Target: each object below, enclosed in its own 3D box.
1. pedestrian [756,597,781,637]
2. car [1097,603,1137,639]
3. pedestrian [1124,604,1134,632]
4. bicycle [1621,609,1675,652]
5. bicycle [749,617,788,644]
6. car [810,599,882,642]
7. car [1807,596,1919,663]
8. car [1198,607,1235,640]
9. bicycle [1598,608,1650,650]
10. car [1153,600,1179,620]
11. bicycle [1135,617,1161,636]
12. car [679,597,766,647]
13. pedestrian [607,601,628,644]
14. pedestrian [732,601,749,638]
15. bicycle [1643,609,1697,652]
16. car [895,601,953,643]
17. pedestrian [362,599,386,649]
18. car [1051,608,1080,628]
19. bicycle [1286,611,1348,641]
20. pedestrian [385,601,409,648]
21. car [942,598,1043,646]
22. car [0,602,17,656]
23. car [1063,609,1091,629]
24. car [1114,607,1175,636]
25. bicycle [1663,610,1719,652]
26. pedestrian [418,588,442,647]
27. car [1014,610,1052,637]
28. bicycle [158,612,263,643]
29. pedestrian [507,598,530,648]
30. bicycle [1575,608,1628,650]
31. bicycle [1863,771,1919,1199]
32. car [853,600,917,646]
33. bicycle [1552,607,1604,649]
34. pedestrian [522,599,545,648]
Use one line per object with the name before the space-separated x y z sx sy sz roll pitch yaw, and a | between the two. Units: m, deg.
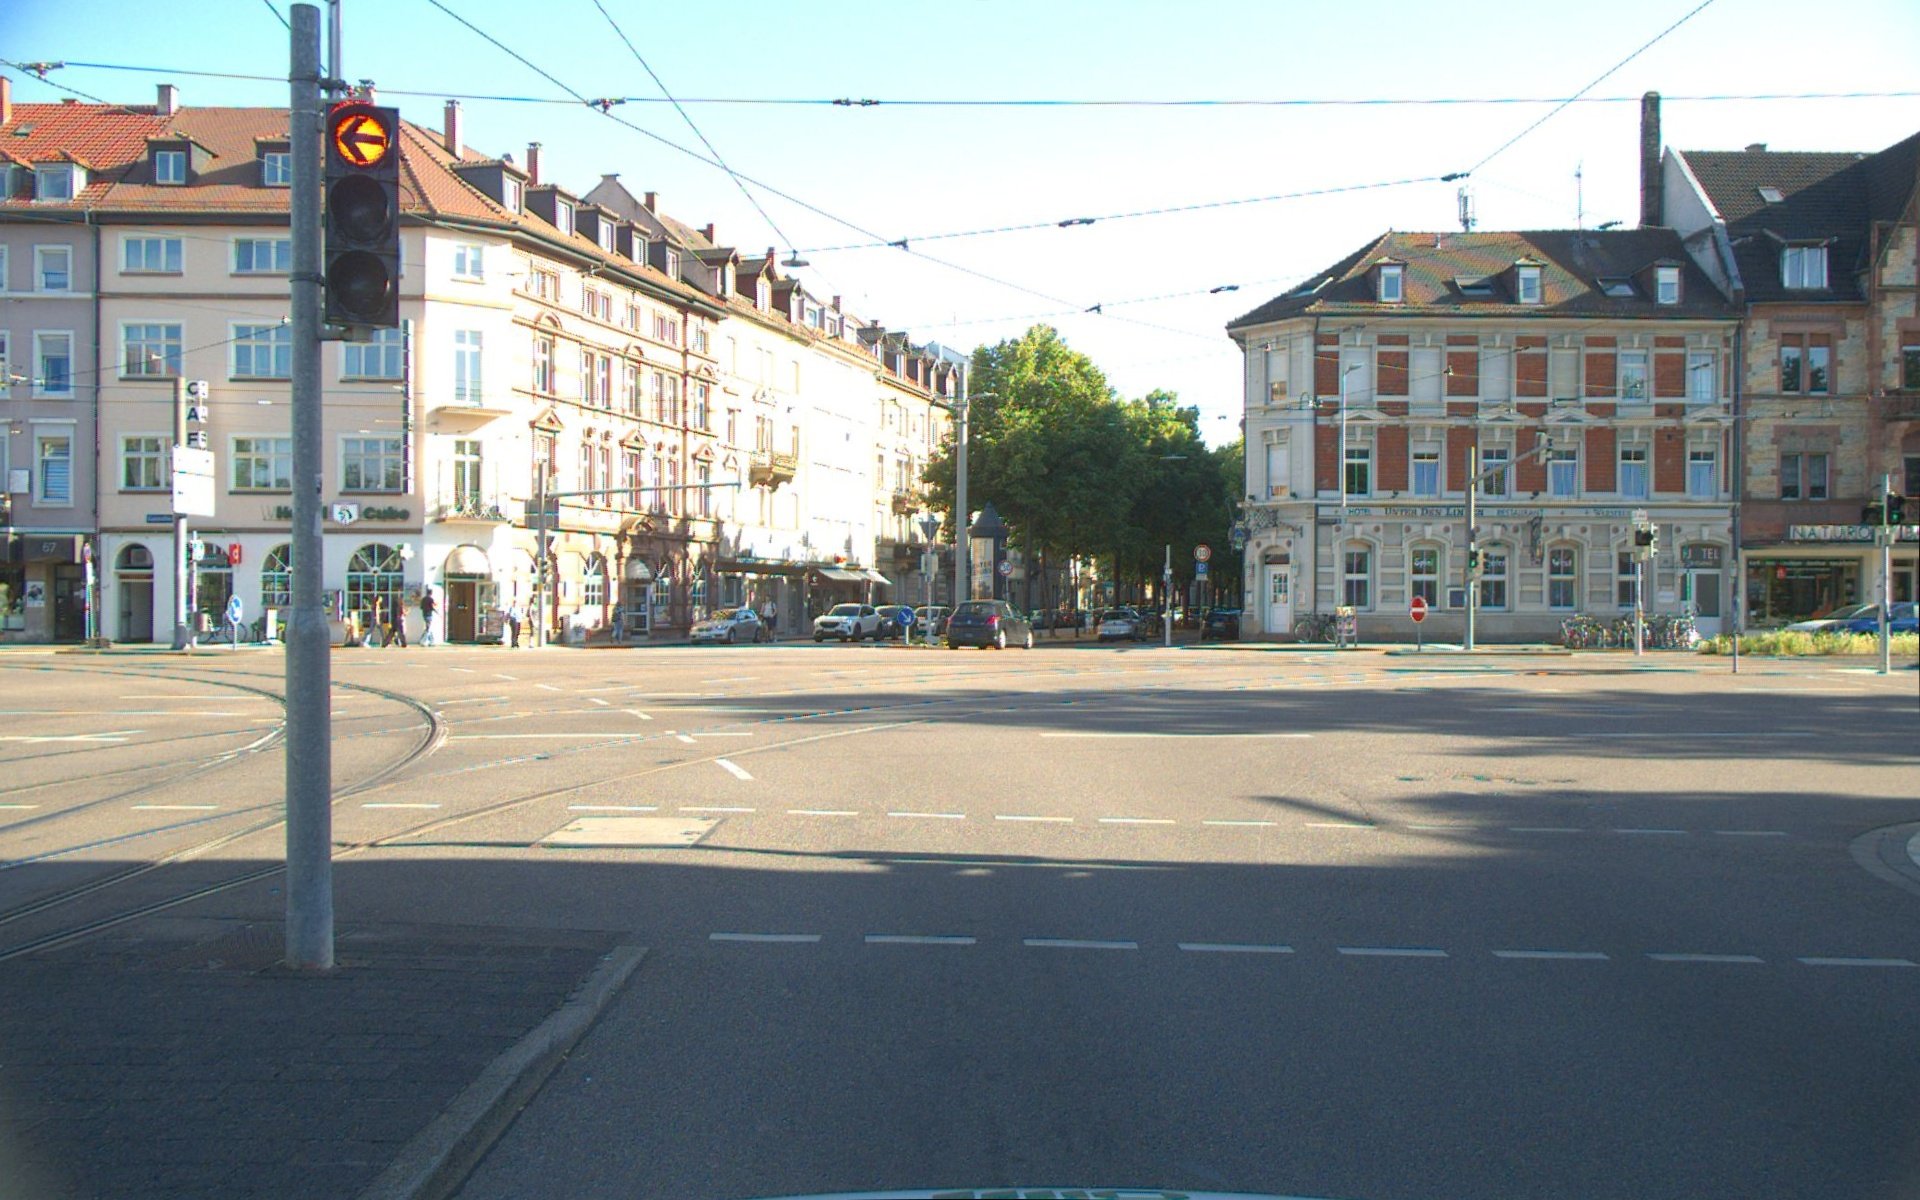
pedestrian | -7.541 0.666 65.084 0.803 1.539 0.598 1 -1 14
car | 7.030 0.936 74.158 1.734 1.557 4.002 1 0 5
pedestrian | 11.368 1.213 111.125 0.626 1.827 0.491 1 -1 12
bicycle | 22.083 0.963 53.147 0.615 1.309 2.661 1 0 0
bicycle | -7.529 1.206 65.155 0.746 1.025 2.398 1 0 13
car | -4.588 0.828 67.125 1.951 1.646 4.003 1 0 11
car | 25.930 0.821 46.040 3.706 1.809 1.999 1 0 -2
car | 12.869 1.147 82.772 1.655 1.592 3.844 1 0 11
bicycle | 21.306 0.917 53.145 0.615 1.309 2.661 1 0 0
car | 16.790 0.833 134.836 1.526 1.540 3.658 1 0 16
bicycle | 11.283 1.570 99.220 0.619 1.104 1.685 1 0 -31
car | -9.564 0.876 66.944 1.951 1.937 4.002 1 0 17
pedestrian | -13.235 0.872 63.934 0.532 1.660 0.707 1 -1 13
pedestrian | -9.987 0.901 75.226 0.532 1.660 0.707 1 -1 13
bicycle | 22.798 0.961 53.171 0.615 1.309 2.661 1 0 0
car | -1.718 1.063 79.491 1.951 1.937 4.003 1 0 11
pedestrian | -19.156 0.780 54.078 0.620 1.640 0.465 1 -1 -5
car | 8.464 1.449 132.084 1.526 1.540 3.658 1 0 16
bicycle | 12.351 0.903 57.268 2.006 1.015 0.631 1 0 2
pedestrian | -18.225 0.793 53.519 0.620 1.502 0.465 1 -1 -5
car | 1.045 0.672 51.061 1.719 1.386 3.853 1 0 25
car | -32.387 0.914 52.428 3.902 1.699 2.002 0 0 8
car | 9.651 1.558 136.527 1.526 1.540 3.658 1 0 16
car | 12.853 1.463 115.148 3.902 1.937 2.001 1 0 15
bicycle | 23.483 0.980 53.170 0.615 1.309 2.661 1 0 0
pedestrian | -17.515 0.583 54.668 0.620 1.914 0.465 1 -1 -5
car | 5.424 1.720 122.623 1.951 1.937 4.002 1 0 16
bicycle | -25.517 0.942 56.349 3.066 0.997 1.001 1 0 -1
pedestrian | -14.861 0.780 55.668 0.620 1.662 0.700 1 -1 -4
bicycle | 20.596 0.910 53.123 0.678 1.309 2.661 1 0 0
bicycle | 2.328 0.941 2.890 0.613 1.104 1.703 1 0 2
car | -3.298 1.011 73.623 1.951 1.937 4.003 1 0 11
bicycle | 19.820 0.876 53.118 0.678 1.309 2.661 1 0 0
pedestrian | -14.663 0.802 56.847 0.620 1.662 0.700 1 -1 -4
